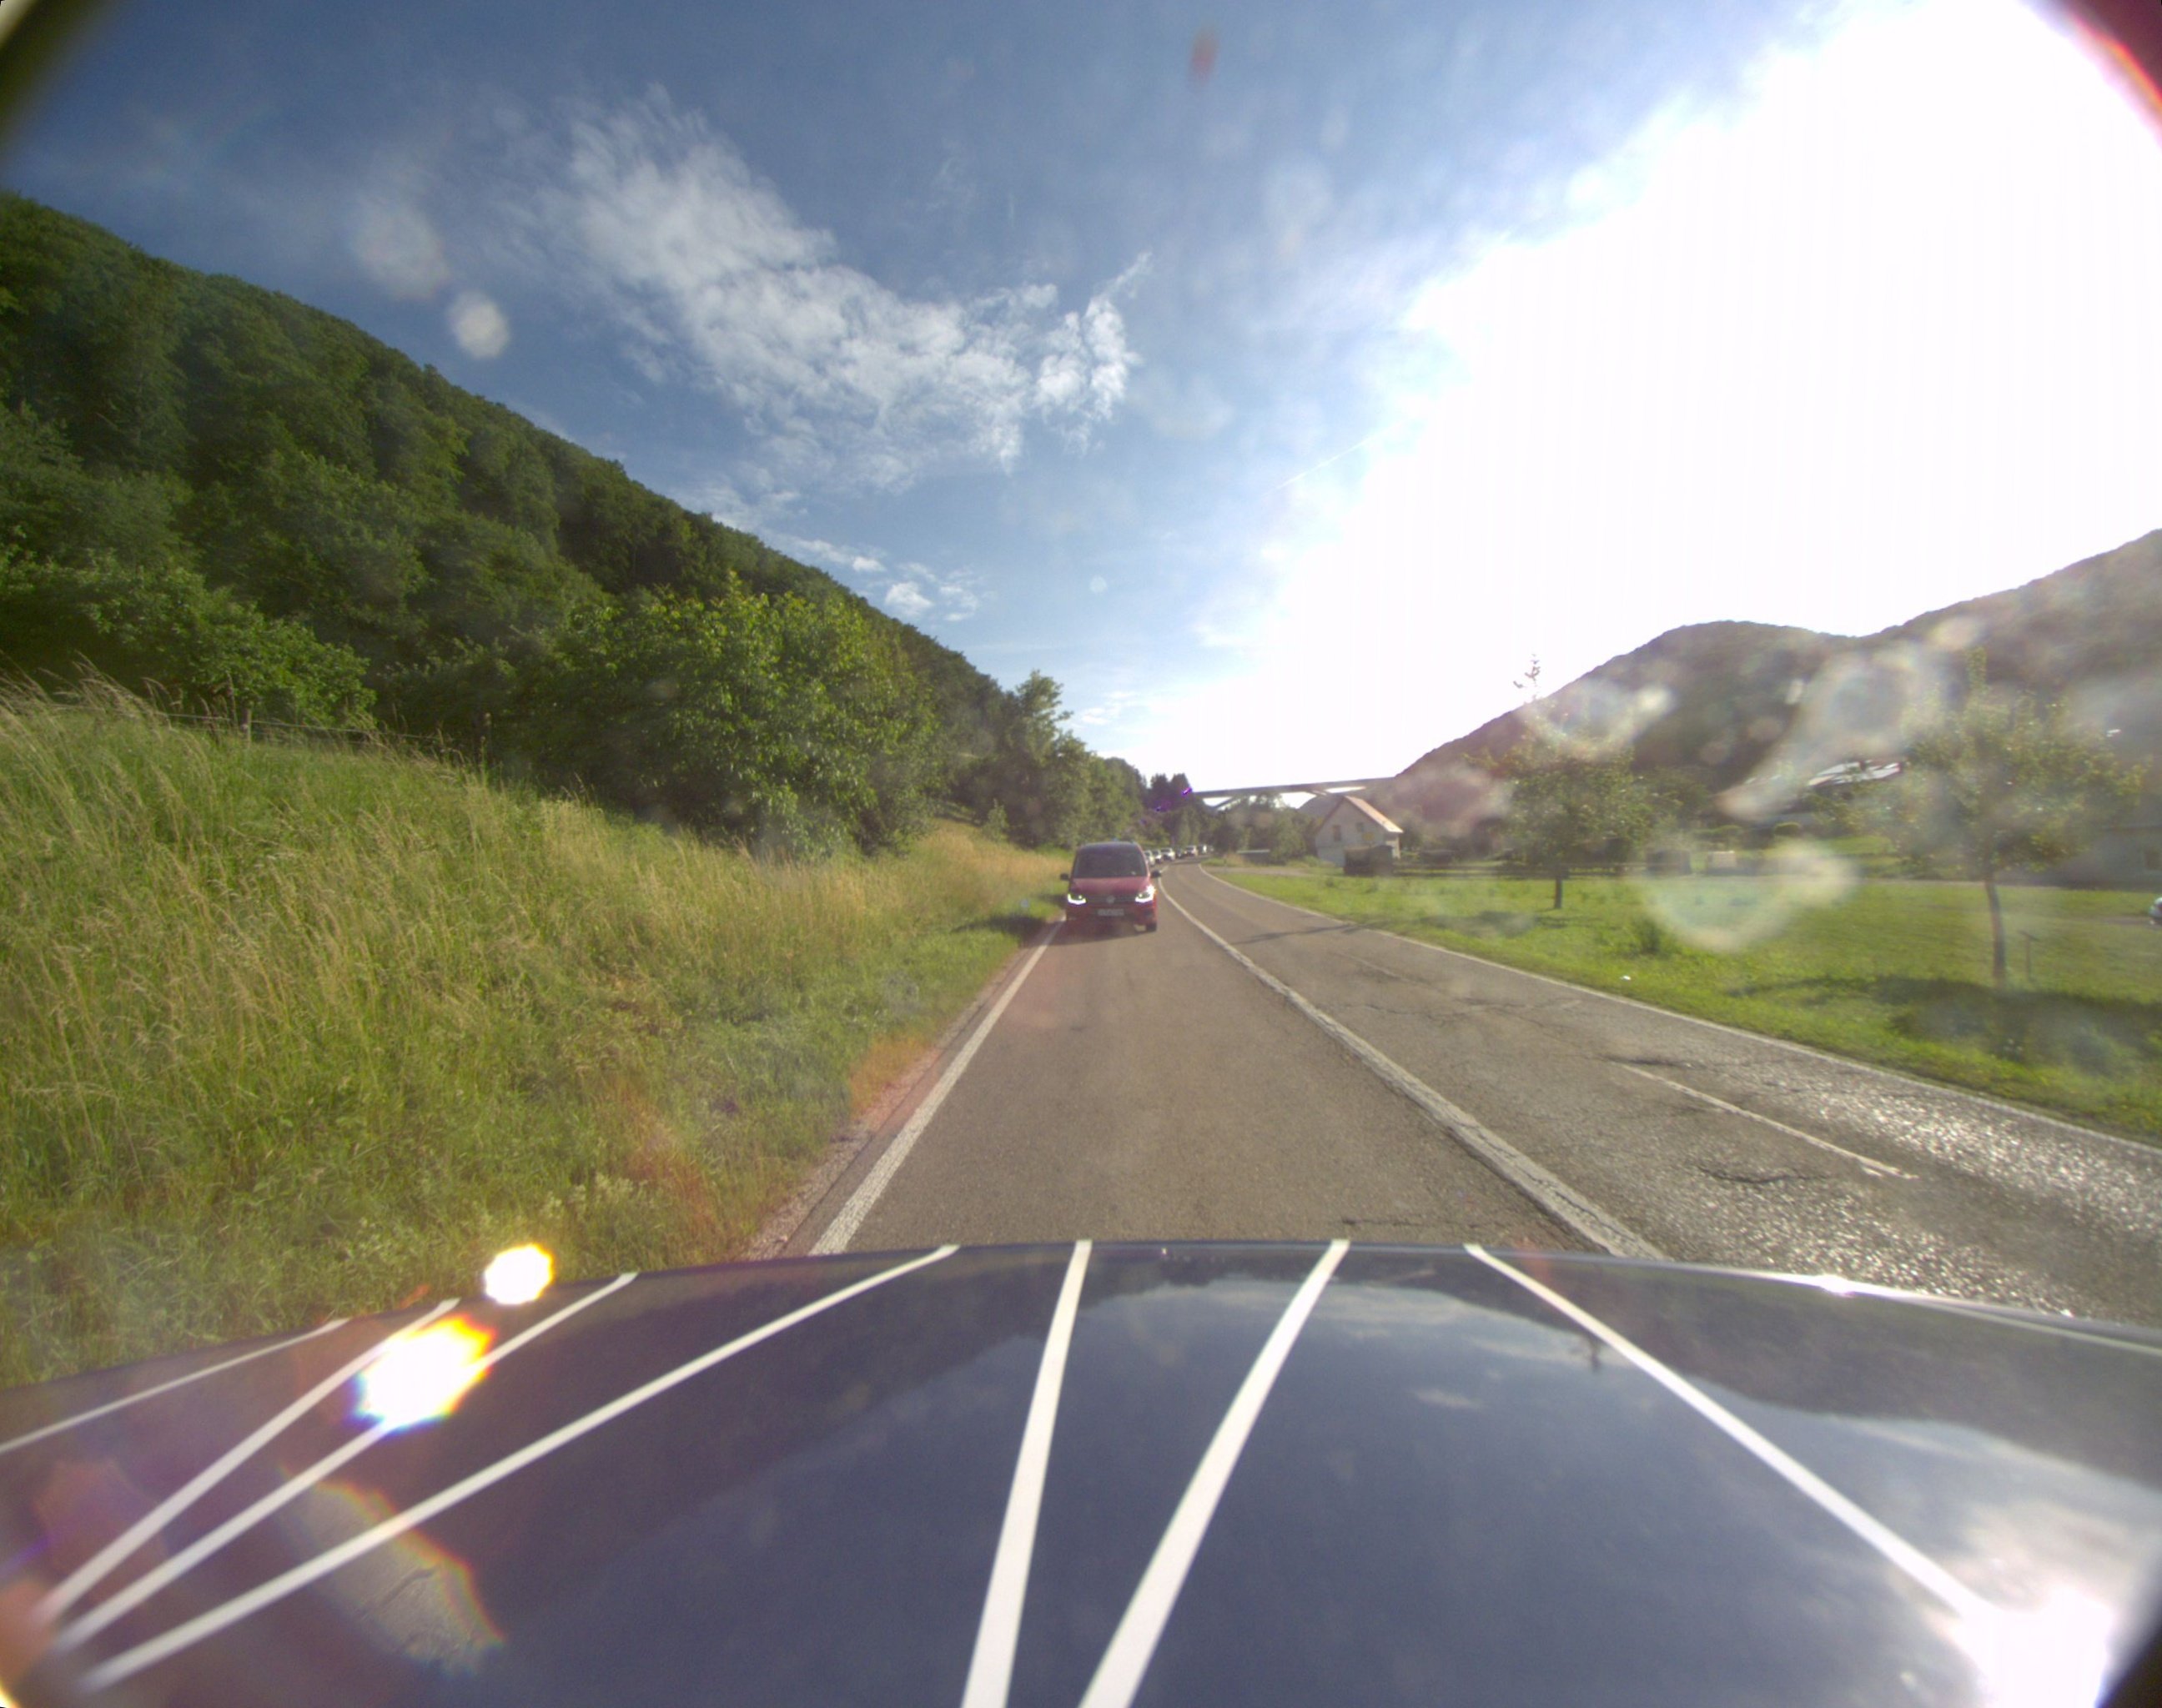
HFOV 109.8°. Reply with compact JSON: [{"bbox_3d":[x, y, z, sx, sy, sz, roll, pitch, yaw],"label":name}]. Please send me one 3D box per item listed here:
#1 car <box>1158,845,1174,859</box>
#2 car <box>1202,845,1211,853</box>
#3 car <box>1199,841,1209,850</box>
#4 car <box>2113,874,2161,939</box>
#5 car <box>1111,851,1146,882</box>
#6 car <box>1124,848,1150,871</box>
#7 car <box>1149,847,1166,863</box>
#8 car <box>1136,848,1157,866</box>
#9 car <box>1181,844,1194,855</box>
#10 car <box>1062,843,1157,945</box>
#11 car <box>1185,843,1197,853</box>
[{"bbox_3d":[10.010,-0.278,89.500,1.630,1.470,3.679,-2,1,3],"label":"car"},{"bbox_3d":[24.319,-1.003,147.687,1.629,1.470,3.681,-2,1,10],"label":"car"},{"bbox_3d":[22.023,-1.534,135.701,1.629,1.470,3.681,-2,1,10],"label":"car"},{"bbox_3d":[25.496,1.129,16.199,3.892,1.360,1.854,-1,1,12],"label":"car"},{"bbox_3d":[2.610,0.638,41.246,1.629,1.470,3.680,-2,1,7],"label":"car"},{"bbox_3d":[4.041,0.388,54.836,1.629,1.470,3.680,-2,1,7],"label":"car"},{"bbox_3d":[7.902,0.068,78.726,1.630,1.470,3.679,-2,1,3],"label":"car"},{"bbox_3d":[5.785,0.260,67.118,1.629,1.470,3.680,-2,1,7],"label":"car"},{"bbox_3d":[14.771,-0.609,105.434,1.629,1.470,3.681,-2,1,10],"label":"car"},{"bbox_3d":[0.620,0.686,15.582,1.649,1.762,4.000,-2,1,3],"label":"car"},{"bbox_3d":[17.569,-1.004,121.294,1.629,1.470,3.680,-2,1,6],"label":"car"}]
